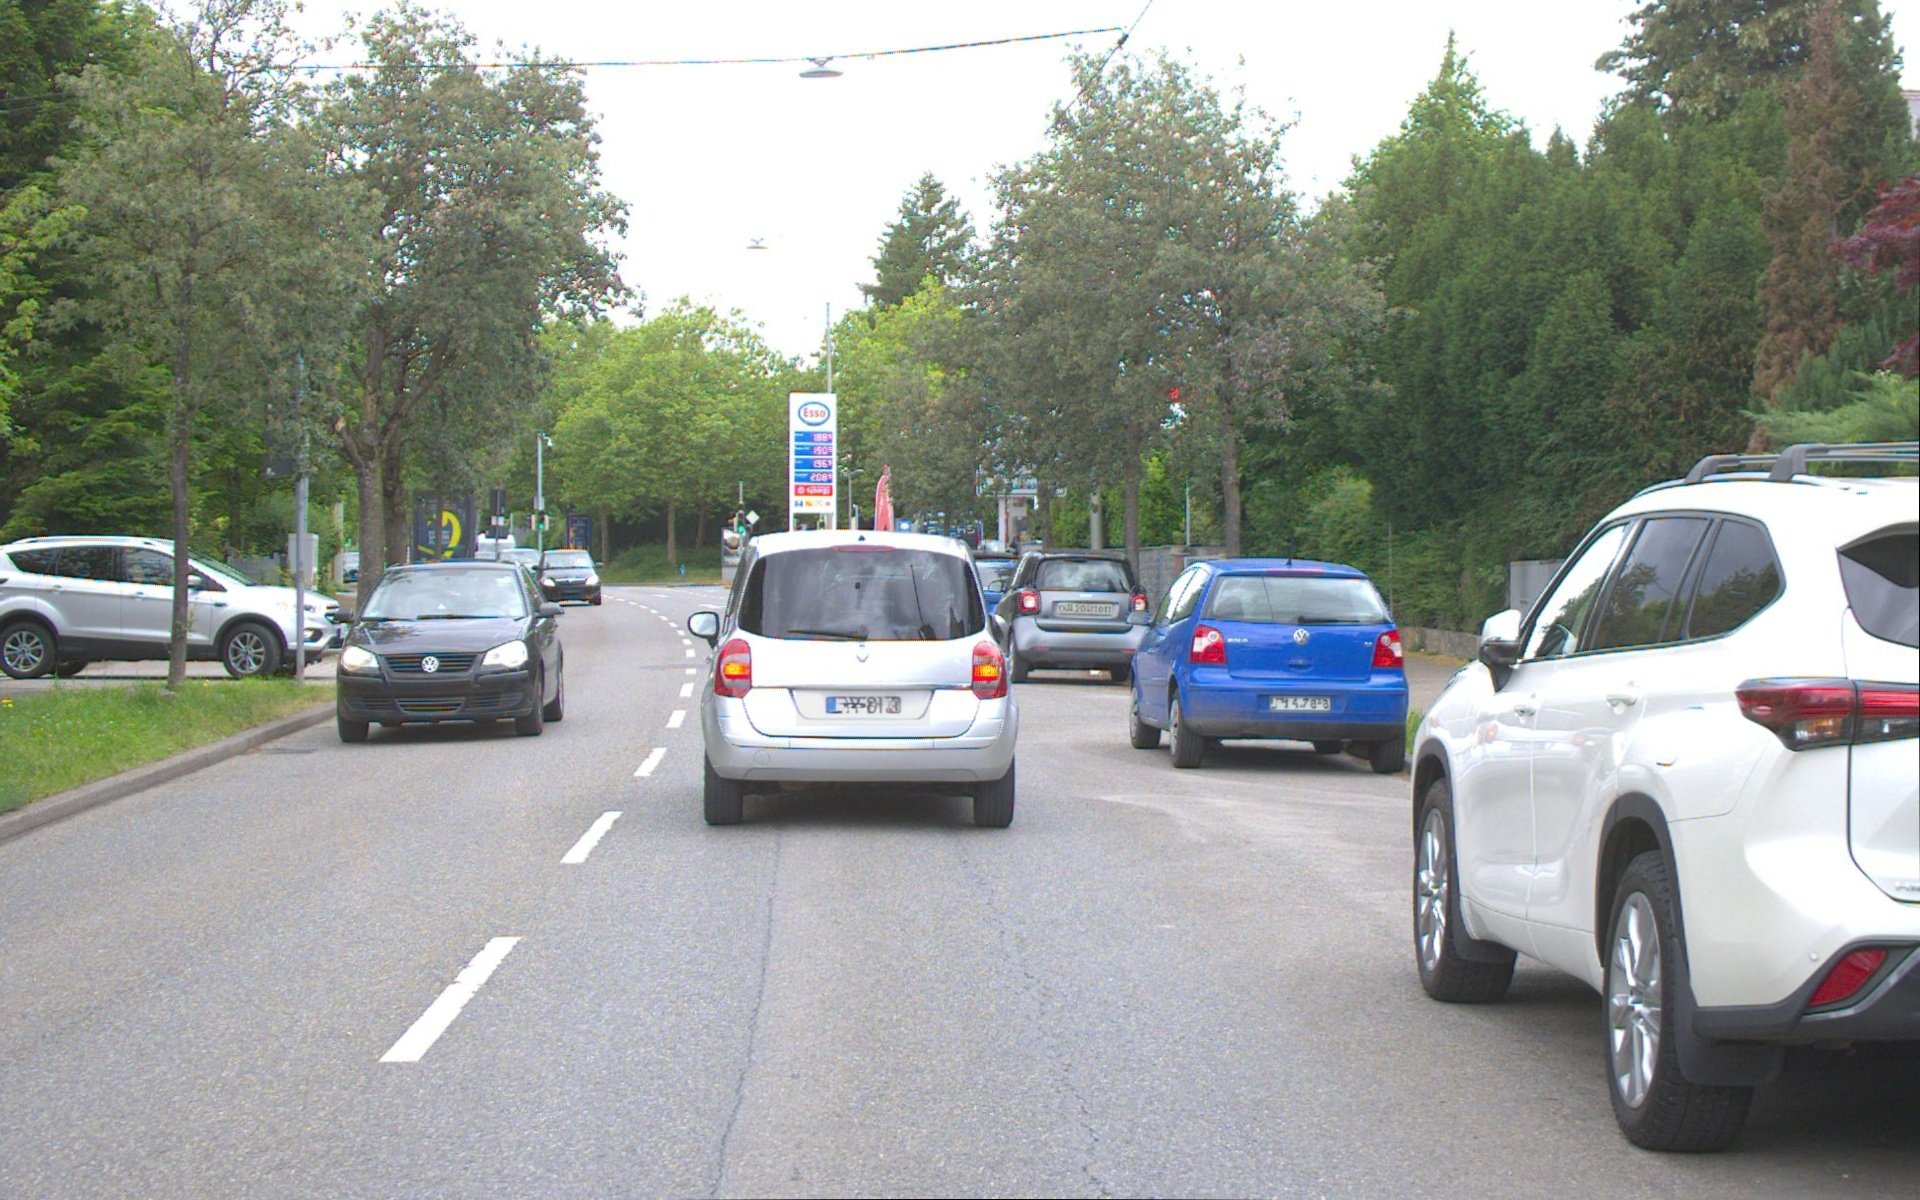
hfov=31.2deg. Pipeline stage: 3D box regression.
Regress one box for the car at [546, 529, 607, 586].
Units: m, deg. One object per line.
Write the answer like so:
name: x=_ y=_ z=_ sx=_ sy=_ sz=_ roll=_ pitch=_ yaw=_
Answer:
car: x=-10.116 y=-1.133 z=90.754 sx=1.544 sy=1.465 sz=3.743 roll=1 pitch=1 yaw=-6

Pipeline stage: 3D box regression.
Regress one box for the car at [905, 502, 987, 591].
car: x=-0.501 y=-1.835 z=117.287 sx=2.281 sy=2.901 sz=5.280 roll=2 pitch=1 yaw=-5

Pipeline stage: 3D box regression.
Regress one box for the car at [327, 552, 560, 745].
car: x=-4.265 y=0.359 z=28.803 sx=1.574 sy=1.467 sz=3.471 roll=-2 pitch=1 yaw=-3

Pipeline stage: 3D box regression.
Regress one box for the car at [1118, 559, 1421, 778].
car: x=2.182 y=0.443 z=25.164 sx=1.626 sy=1.447 sz=3.876 roll=1 pitch=1 yaw=-3

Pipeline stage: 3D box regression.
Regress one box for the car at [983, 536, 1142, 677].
car: x=1.168 y=0.034 z=40.690 sx=1.695 sy=1.552 sz=3.956 roll=-1 pitch=1 yaw=-1

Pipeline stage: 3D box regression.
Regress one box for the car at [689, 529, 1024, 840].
car: x=-0.570 y=0.414 z=19.262 sx=1.679 sy=1.554 sz=3.512 roll=1 pitch=1 yaw=-1

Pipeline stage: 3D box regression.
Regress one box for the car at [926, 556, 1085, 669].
car: x=0.564 y=0.135 z=46.334 sx=1.696 sy=1.428 sz=4.341 roll=0 pitch=1 yaw=-5

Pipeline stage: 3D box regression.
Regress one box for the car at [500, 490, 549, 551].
car: x=-17.602 y=-3.211 z=139.086 sx=1.934 sy=2.400 sz=4.001 roll=0 pitch=1 yaw=-7

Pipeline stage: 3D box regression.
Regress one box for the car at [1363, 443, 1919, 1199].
car: x=2.486 y=0.527 z=9.923 sx=1.799 sy=1.772 sz=4.706 roll=1 pitch=1 yaw=-3

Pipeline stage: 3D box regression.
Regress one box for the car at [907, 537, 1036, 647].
car: x=0.134 y=-0.149 z=51.658 sx=1.695 sy=1.565 sz=3.956 roll=1 pitch=1 yaw=-3

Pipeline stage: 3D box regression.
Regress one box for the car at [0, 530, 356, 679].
car: x=-9.450 y=0.035 z=41.152 sx=4.087 sy=1.700 sz=1.747 roll=1 pitch=1 yaw=2

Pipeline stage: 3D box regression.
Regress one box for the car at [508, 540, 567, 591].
car: x=-13.776 y=-1.141 z=112.179 sx=1.793 sy=1.550 sz=3.673 roll=-2 pitch=1 yaw=-6

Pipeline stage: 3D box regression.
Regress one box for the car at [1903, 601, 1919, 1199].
car: x=2.759 y=0.767 z=5.084 sx=1.558 sy=1.438 sz=3.507 roll=1 pitch=1 yaw=-4
